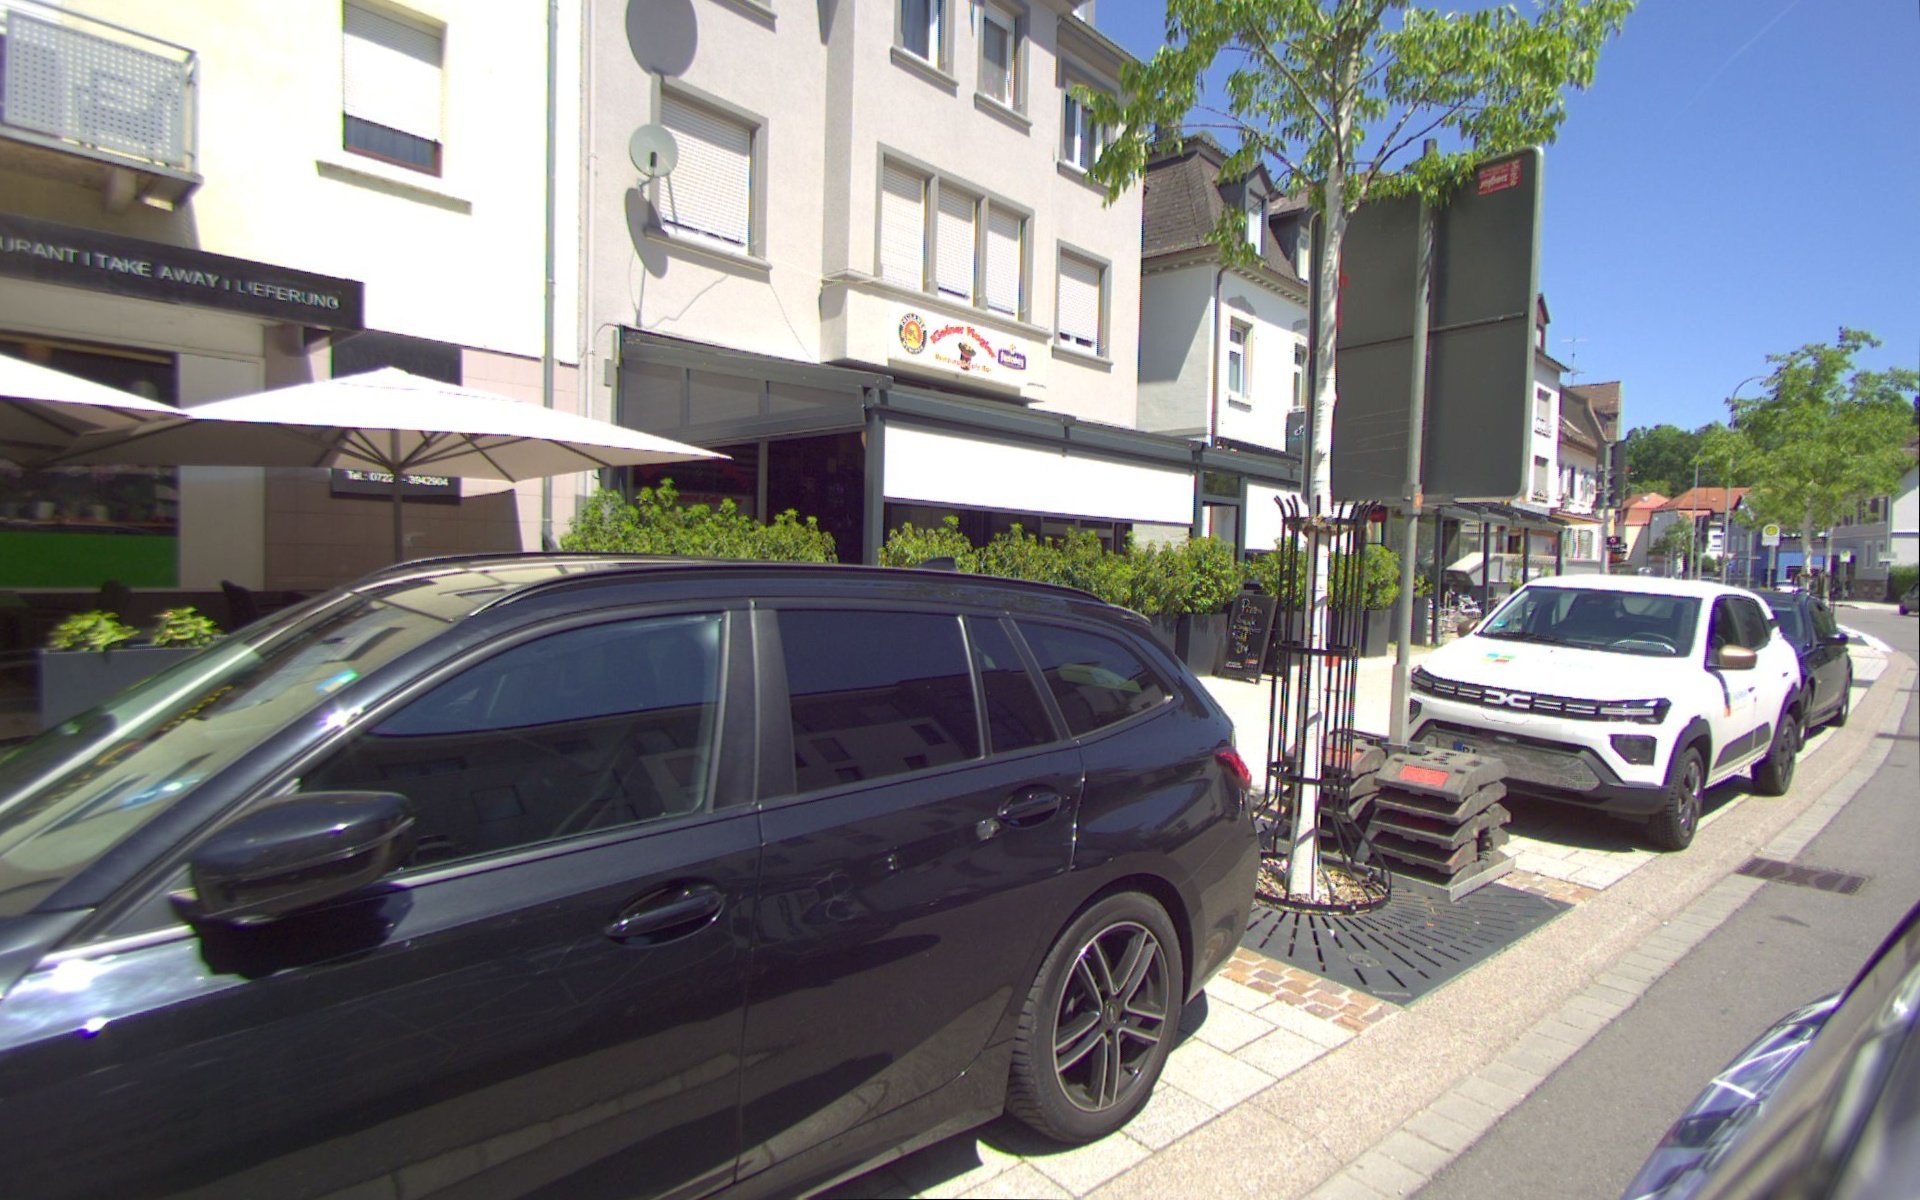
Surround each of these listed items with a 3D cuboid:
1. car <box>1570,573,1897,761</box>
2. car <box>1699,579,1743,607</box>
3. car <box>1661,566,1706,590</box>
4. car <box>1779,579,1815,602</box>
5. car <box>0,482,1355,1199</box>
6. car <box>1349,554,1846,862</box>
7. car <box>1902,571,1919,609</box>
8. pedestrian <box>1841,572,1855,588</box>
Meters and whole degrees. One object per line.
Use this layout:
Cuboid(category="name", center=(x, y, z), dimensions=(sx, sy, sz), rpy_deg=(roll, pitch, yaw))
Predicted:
Cuboid(category="car", center=(8.296, 0.529, 10.735), dimensions=(4.023, 1.499, 1.838), rpy_deg=(-2, 5, -40))
Cuboid(category="car", center=(43.415, -0.406, 57.809), dimensions=(1.671, 1.533, 3.348), rpy_deg=(1, 1, 32))
Cuboid(category="car", center=(49.547, -1.560, 69.378), dimensions=(1.718, 1.490, 4.287), rpy_deg=(4, 4, 25))
Cuboid(category="car", center=(55.006, -0.609, 66.545), dimensions=(1.664, 1.414, 3.794), rpy_deg=(-1, 0, 38))
Cuboid(category="car", center=(-0.940, 0.554, 2.476), dimensions=(4.530, 1.423, 1.727), rpy_deg=(0, 1, -42))
Cuboid(category="car", center=(4.621, 0.498, 7.114), dimensions=(3.982, 1.503, 1.742), rpy_deg=(-1, 5, -40))
Cuboid(category="car", center=(42.574, -0.411, 43.376), dimensions=(1.927, 1.679, 4.202), rpy_deg=(1, 2, 24))
Cuboid(category="pedestrian", center=(62.421, -1.422, 71.158), dimensions=(0.592, 1.072, 0.562), rpy_deg=(1, 2, 25))
